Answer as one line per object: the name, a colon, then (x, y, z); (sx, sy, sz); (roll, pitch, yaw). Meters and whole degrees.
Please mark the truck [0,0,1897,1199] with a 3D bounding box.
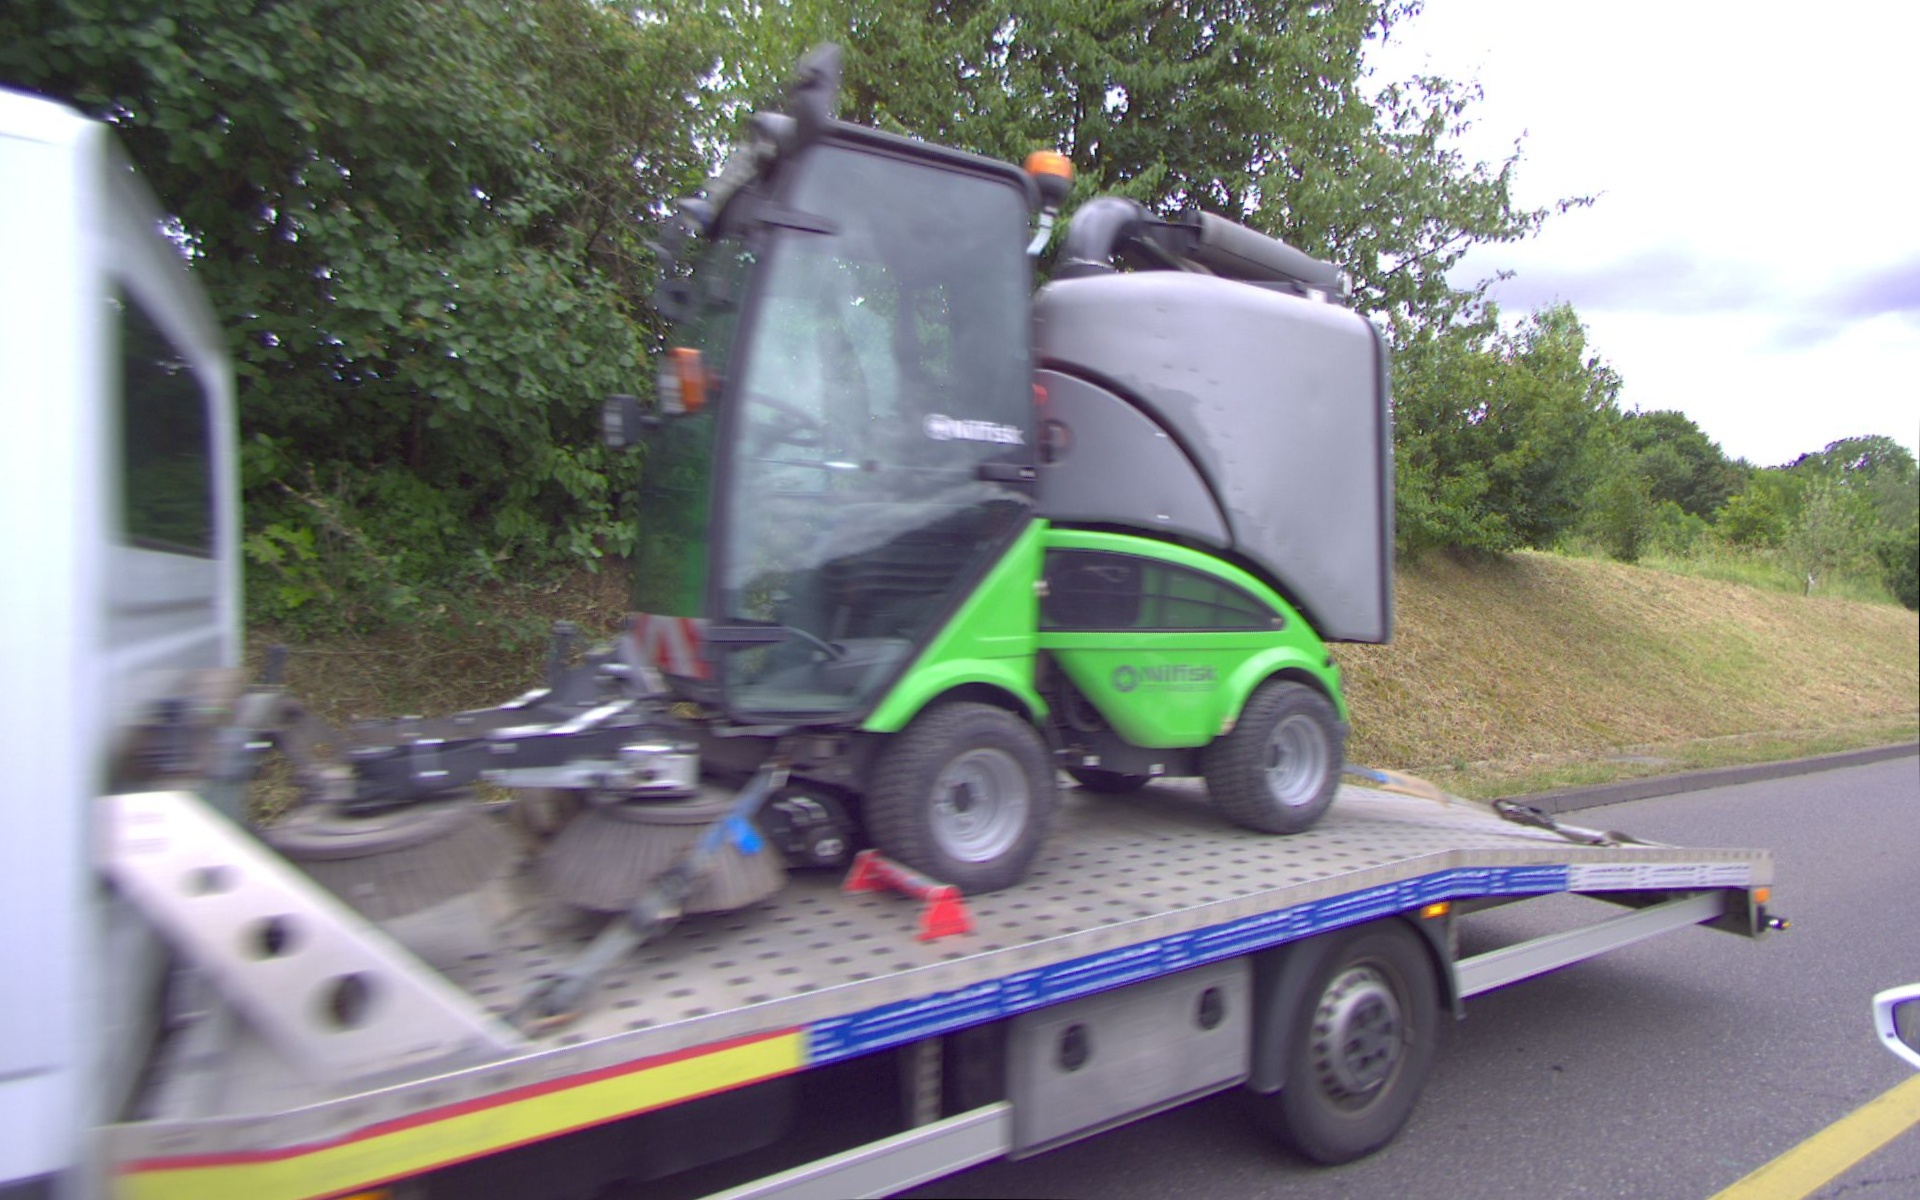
truck: (0.025, -0.038, 3.157); (7.649, 3.055, 2.204); (1, 0, -31)
